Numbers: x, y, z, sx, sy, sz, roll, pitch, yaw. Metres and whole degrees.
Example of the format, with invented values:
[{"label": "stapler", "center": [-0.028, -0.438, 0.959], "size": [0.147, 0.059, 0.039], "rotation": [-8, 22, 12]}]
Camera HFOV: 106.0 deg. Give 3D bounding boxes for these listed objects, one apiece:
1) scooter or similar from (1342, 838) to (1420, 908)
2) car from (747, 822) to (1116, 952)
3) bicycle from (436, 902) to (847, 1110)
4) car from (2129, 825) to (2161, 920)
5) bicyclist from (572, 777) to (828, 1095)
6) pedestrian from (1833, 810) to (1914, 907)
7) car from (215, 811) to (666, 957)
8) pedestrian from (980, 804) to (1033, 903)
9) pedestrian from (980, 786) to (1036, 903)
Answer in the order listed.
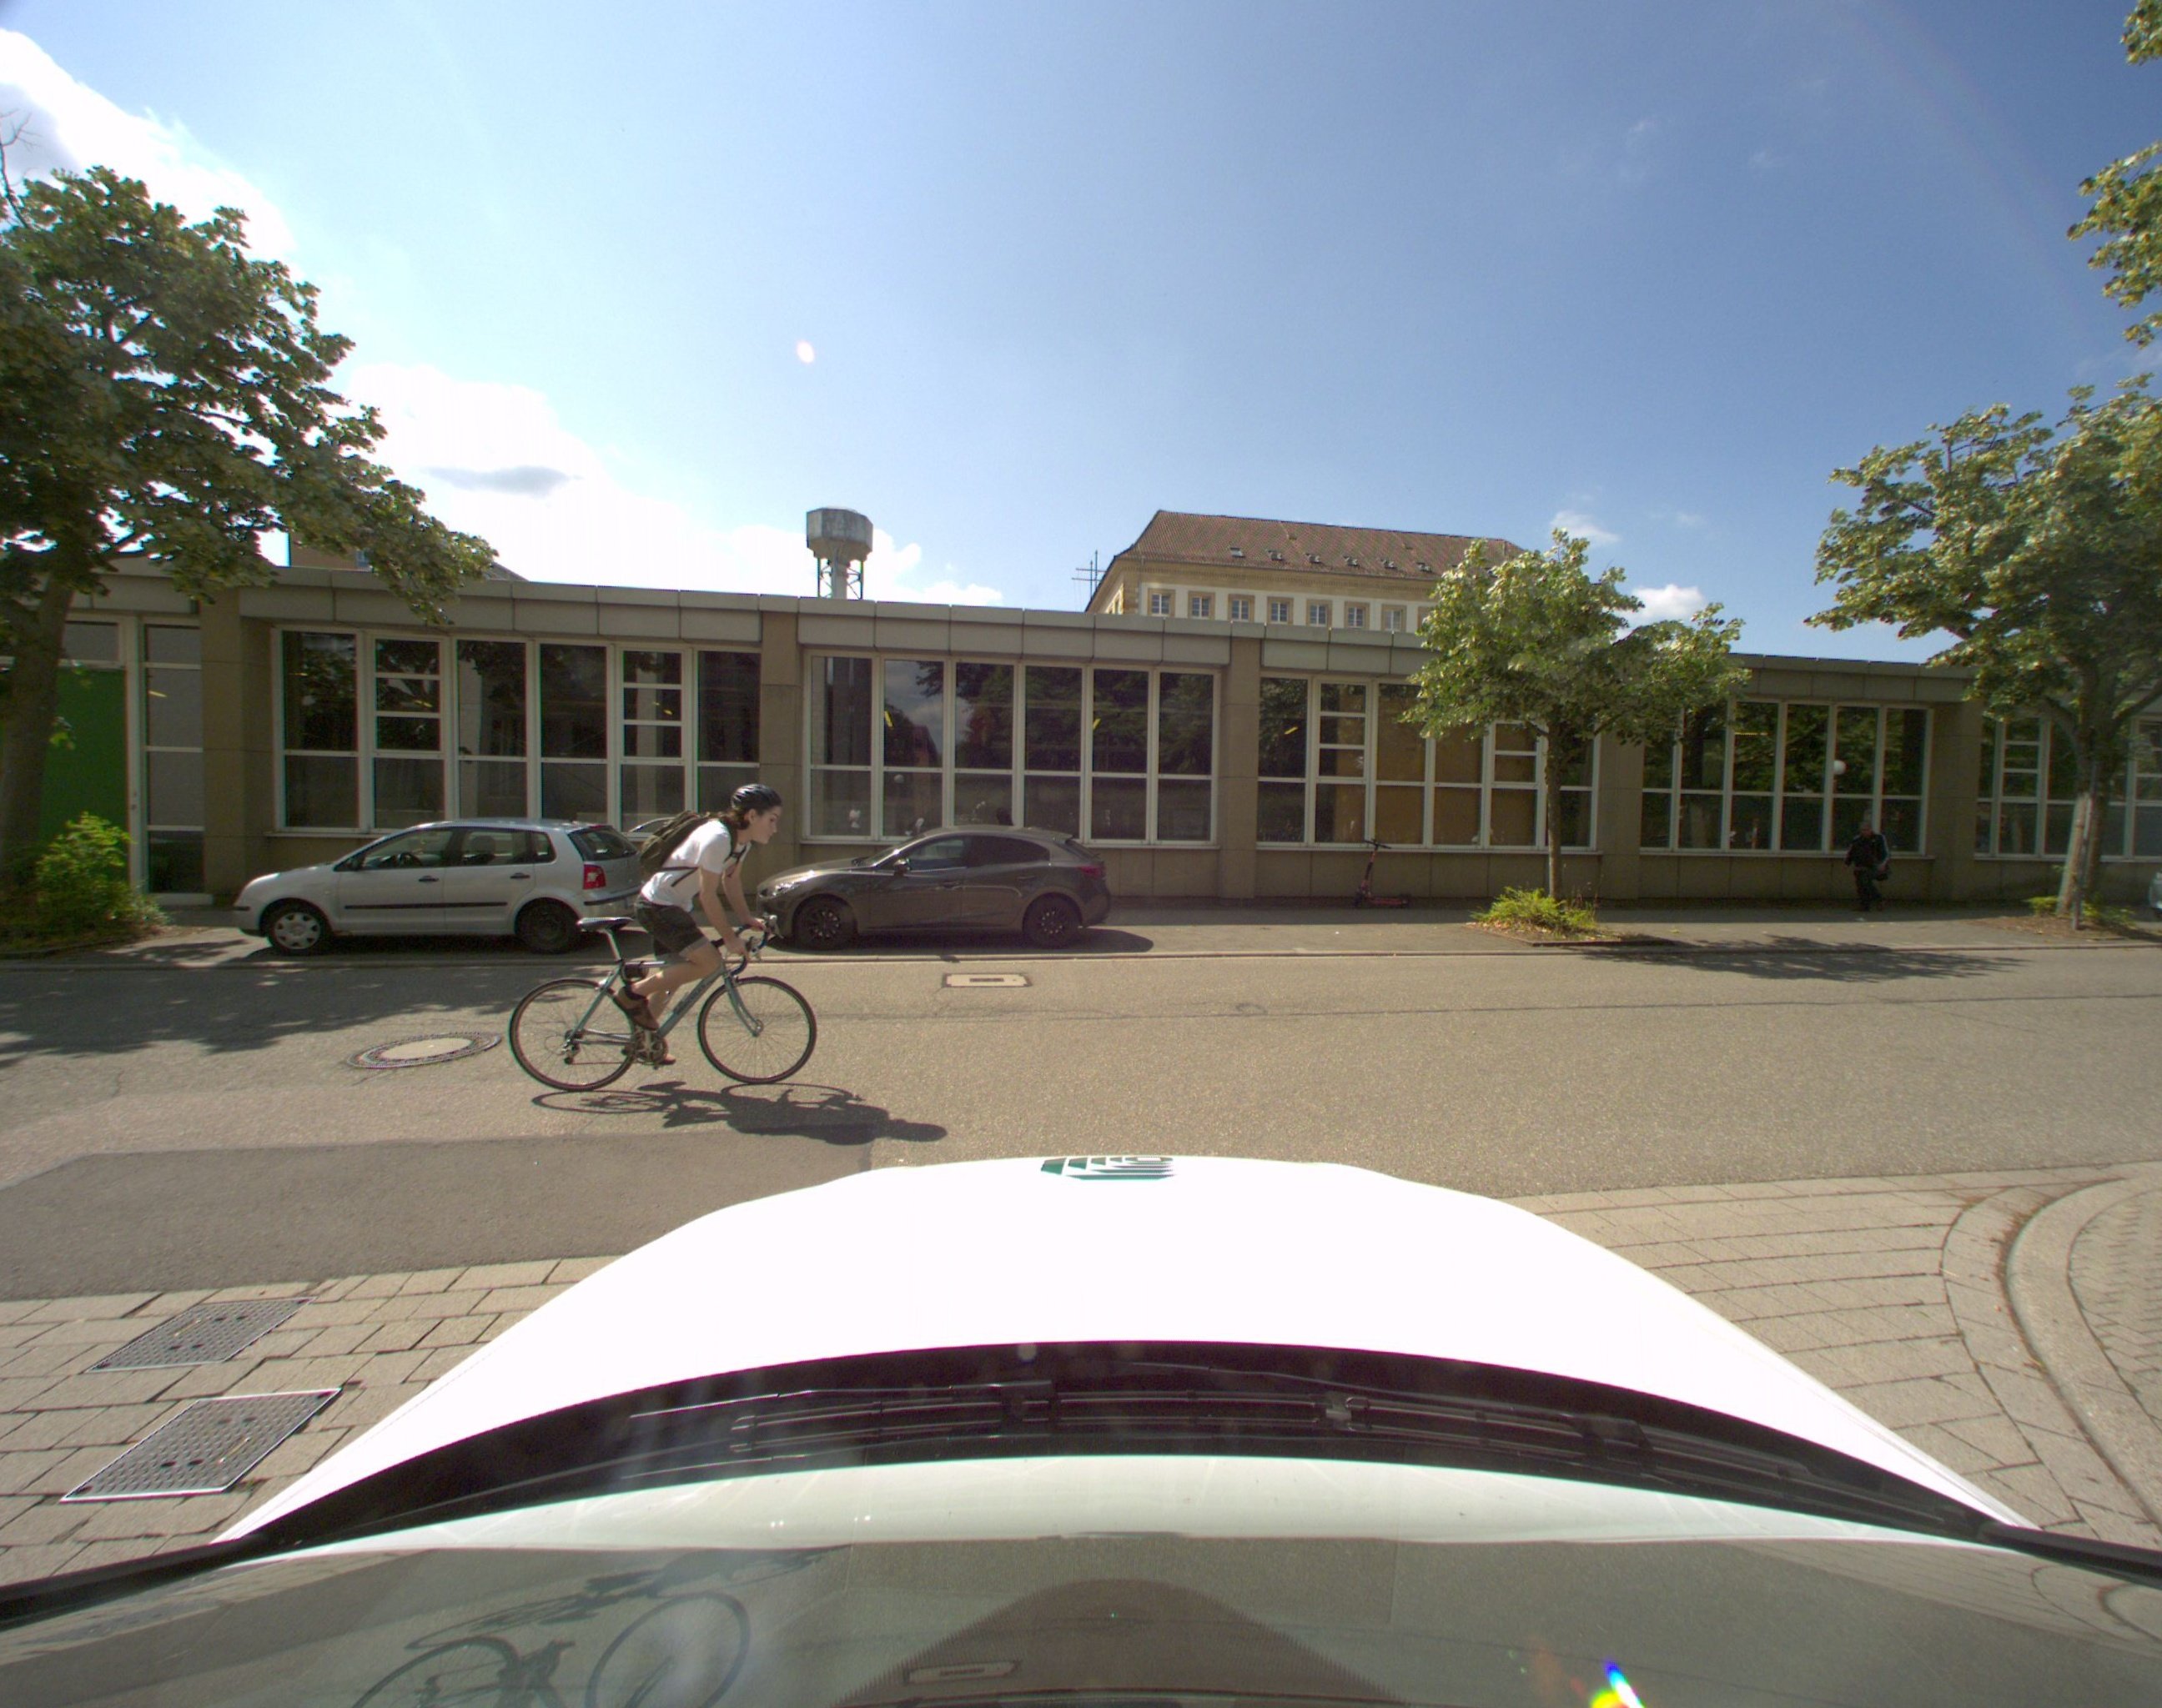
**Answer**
[{"label": "scooter or similar", "center": [5.347, 0.323, 14.529], "size": [1.242, 1.206, 0.383], "rotation": [0, 4, -10]}, {"label": "car", "center": [-1.814, 0.335, 10.490], "size": [4.274, 1.434, 1.726], "rotation": [0, 4, -9]}, {"label": "bicycle", "center": [-2.379, 0.826, 4.613], "size": [1.900, 0.992, 0.708], "rotation": [1, 4, -3]}, {"label": "car", "center": [21.093, 0.395, 14.032], "size": [4.504, 1.631, 1.822], "rotation": [1, 4, -11]}, {"label": "bicyclist", "center": [-2.080, 0.418, 4.600], "size": [1.089, 1.661, 0.719], "rotation": [1, 4, -3]}, {"label": "pedestrian", "center": [15.088, 0.066, 15.527], "size": [0.667, 1.786, 0.789], "rotation": [0, 4, -7]}, {"label": "car", "center": [-7.140, 0.283, 9.488], "size": [3.739, 1.448, 1.631], "rotation": [0, 5, -9]}, {"label": "pedestrian", "center": [-1.197, -0.017, 12.985], "size": [0.795, 1.541, 0.662], "rotation": [0, 2, -9]}, {"label": "pedestrian", "center": [-1.106, -0.150, 12.317], "size": [0.795, 1.728, 0.600], "rotation": [0, 2, -9]}]
